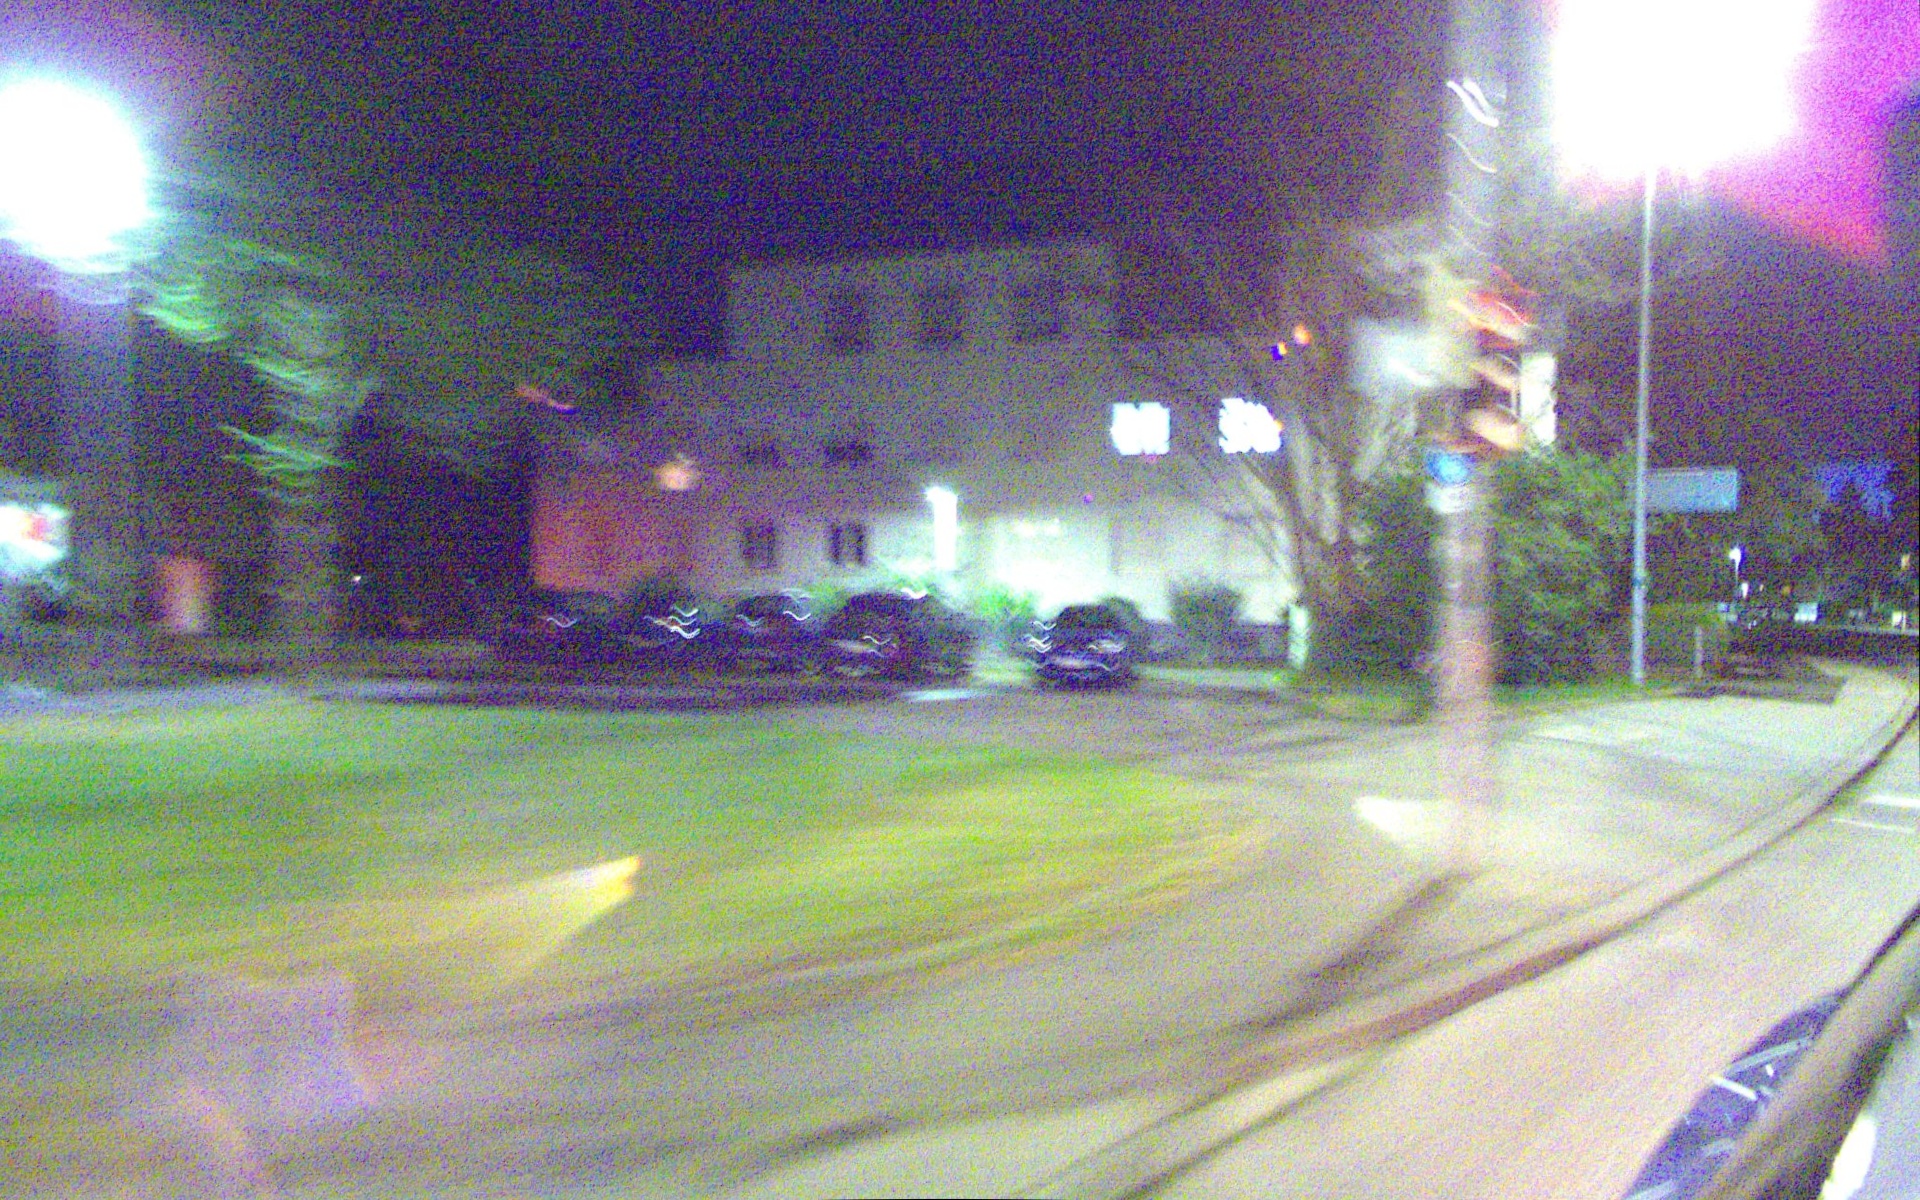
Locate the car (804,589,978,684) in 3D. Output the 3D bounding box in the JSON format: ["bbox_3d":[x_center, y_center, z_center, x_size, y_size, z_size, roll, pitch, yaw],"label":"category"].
[{"bbox_3d":[-1.168,0.620,19.460,1.897,1.584,4.387,0,0,17],"label":"car"}]

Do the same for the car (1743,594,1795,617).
[{"bbox_3d":[65.970,0.442,82.621,1.700,1.596,4.509,4,3,18],"label":"car"}]

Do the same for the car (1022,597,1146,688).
[{"bbox_3d":[2.412,0.723,19.002,1.685,1.524,3.572,0,0,18],"label":"car"}]

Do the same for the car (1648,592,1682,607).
[{"bbox_3d":[74.153,-0.085,106.531,1.711,1.381,4.123,3,3,18],"label":"car"}]

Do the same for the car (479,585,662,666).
[{"bbox_3d":[-8.366,0.505,22.107,1.738,1.564,3.848,1,0,17],"label":"car"}]

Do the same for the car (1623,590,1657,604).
[{"bbox_3d":[75.552,-0.345,112.477,1.883,1.381,4.952,3,3,20],"label":"car"}]

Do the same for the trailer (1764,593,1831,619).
[{"bbox_3d":[64.256,0.422,77.760,2.005,1.802,5.639,3,2,19],"label":"trailer"}]

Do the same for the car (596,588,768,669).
[{"bbox_3d":[-5.791,0.549,21.546,1.738,1.534,3.848,1,0,17],"label":"car"}]

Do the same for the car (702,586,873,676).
[{"bbox_3d":[-3.363,0.559,20.573,1.788,1.636,4.076,0,0,17],"label":"car"}]

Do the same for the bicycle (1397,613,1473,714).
[{"bbox_3d":[5.653,0.712,11.998,0.295,0.994,1.916,1,3,41],"label":"bicycle"}]
